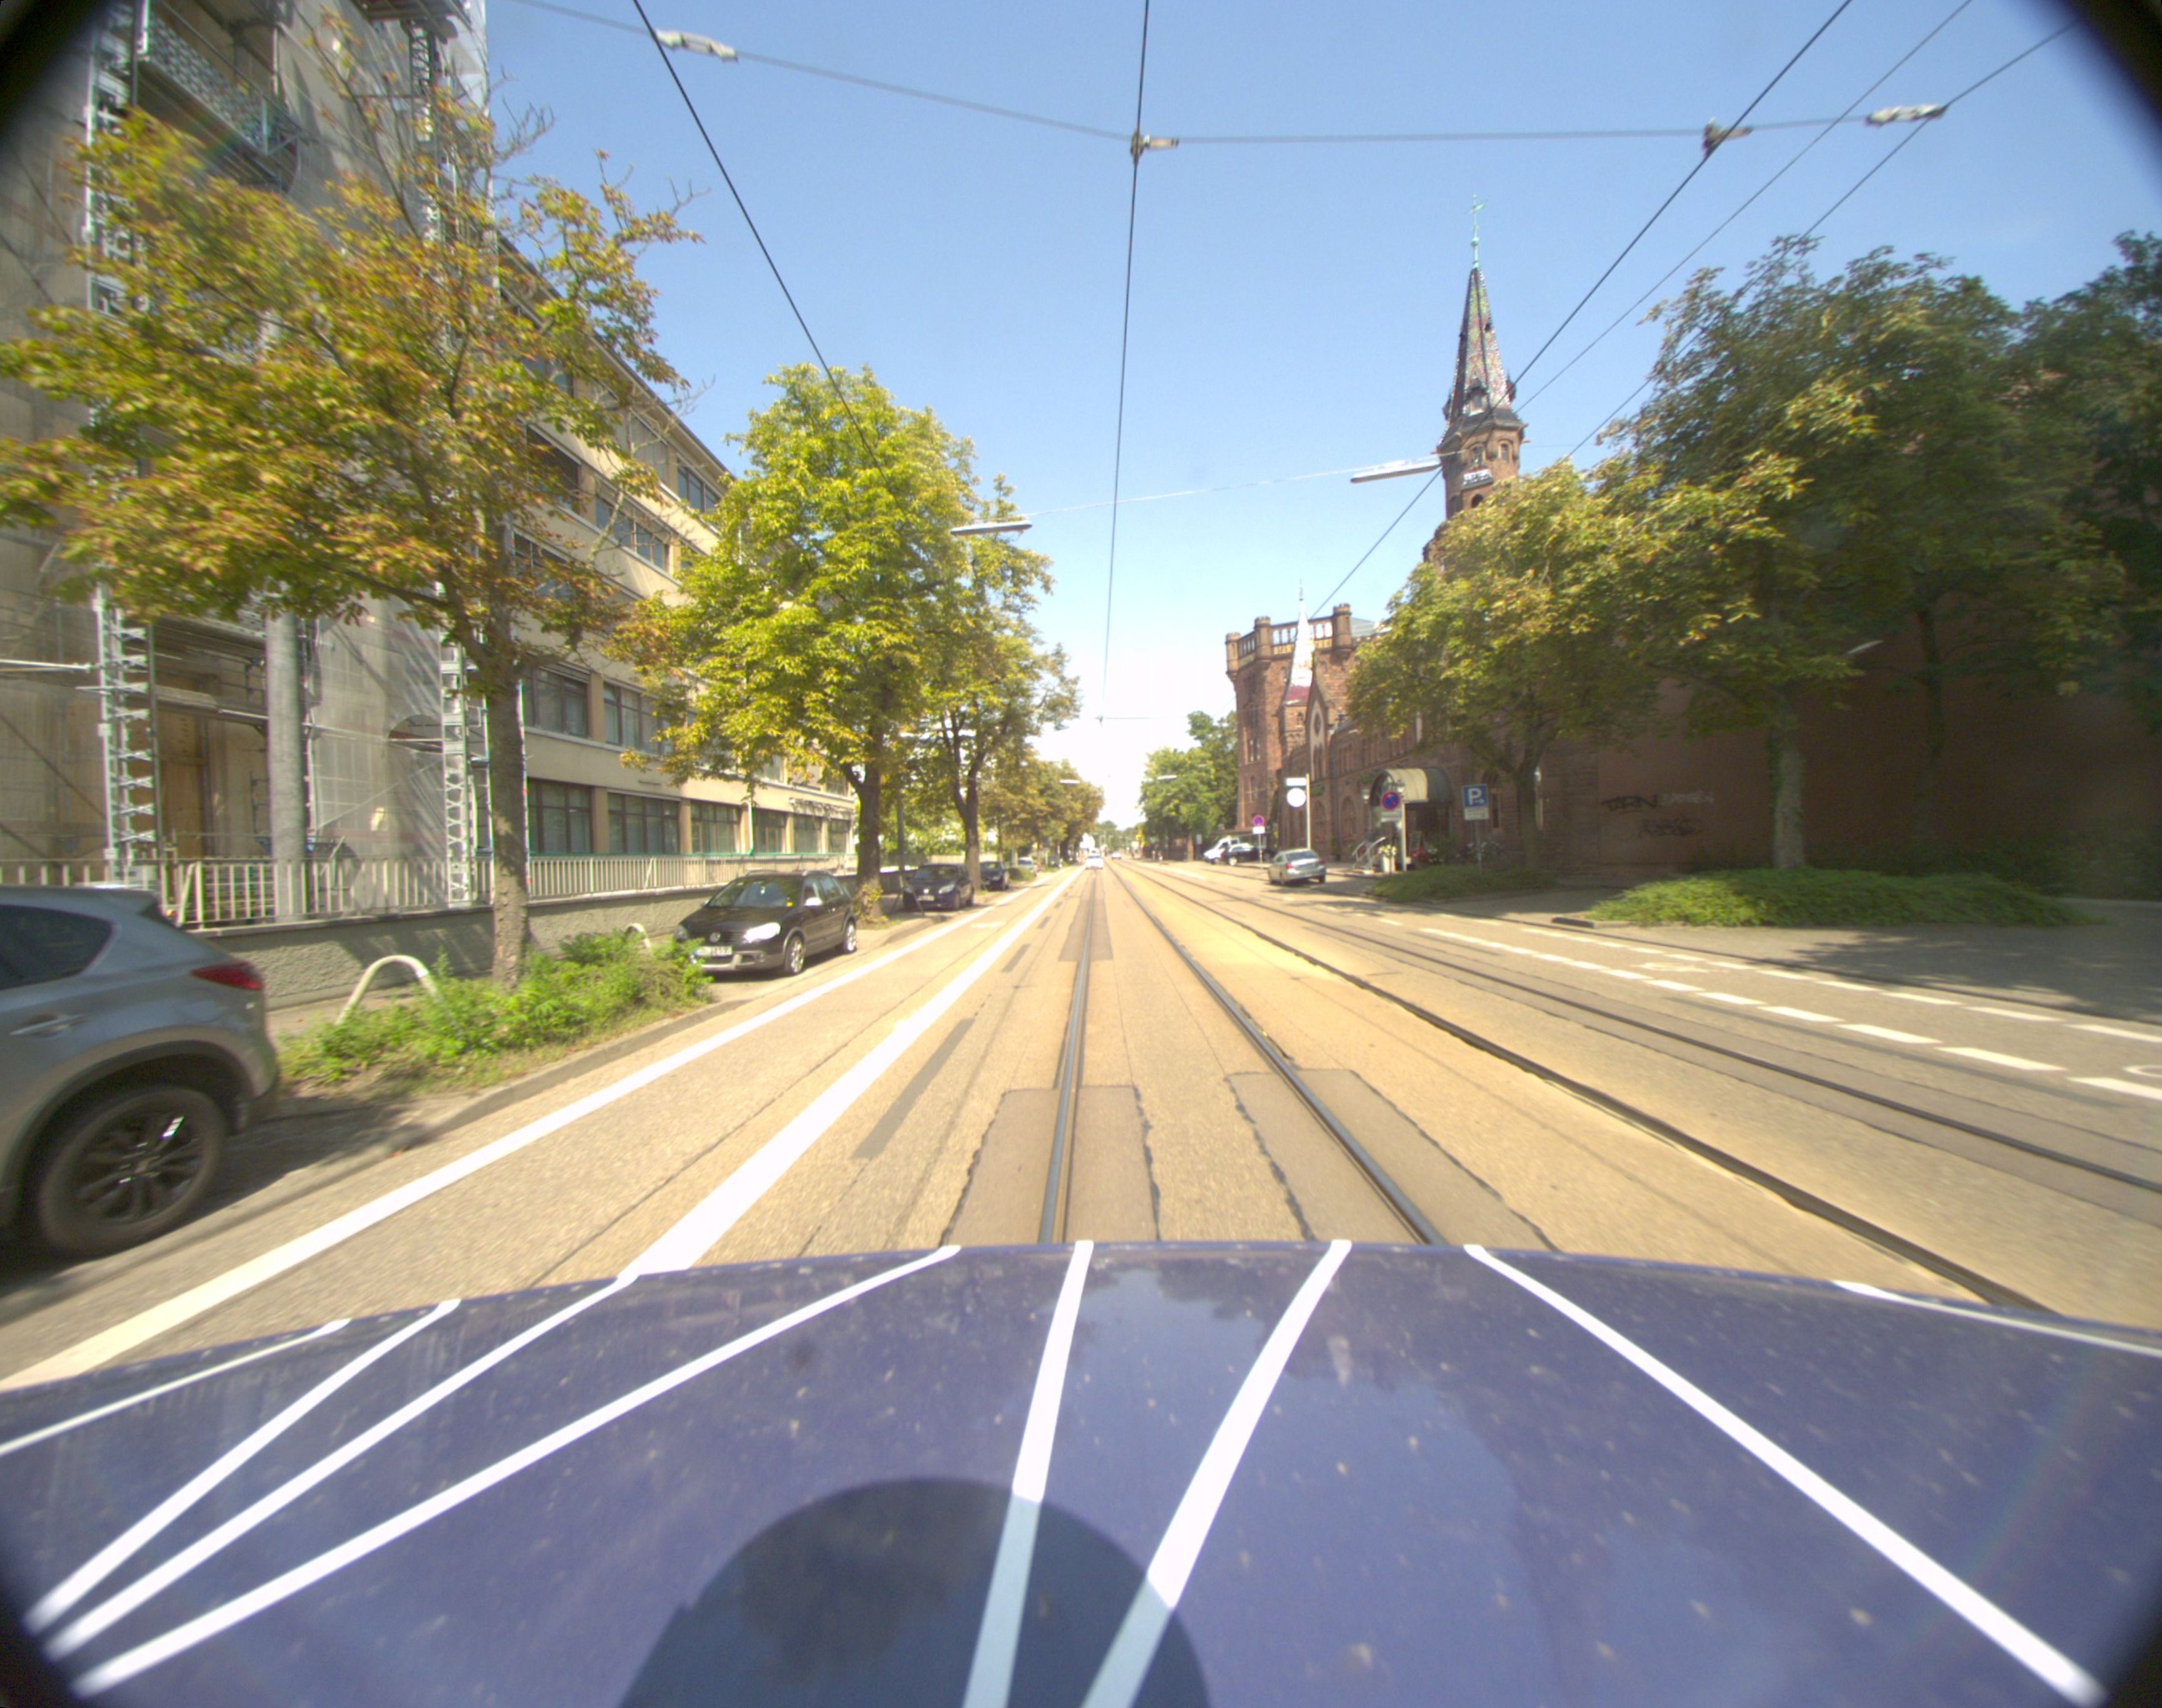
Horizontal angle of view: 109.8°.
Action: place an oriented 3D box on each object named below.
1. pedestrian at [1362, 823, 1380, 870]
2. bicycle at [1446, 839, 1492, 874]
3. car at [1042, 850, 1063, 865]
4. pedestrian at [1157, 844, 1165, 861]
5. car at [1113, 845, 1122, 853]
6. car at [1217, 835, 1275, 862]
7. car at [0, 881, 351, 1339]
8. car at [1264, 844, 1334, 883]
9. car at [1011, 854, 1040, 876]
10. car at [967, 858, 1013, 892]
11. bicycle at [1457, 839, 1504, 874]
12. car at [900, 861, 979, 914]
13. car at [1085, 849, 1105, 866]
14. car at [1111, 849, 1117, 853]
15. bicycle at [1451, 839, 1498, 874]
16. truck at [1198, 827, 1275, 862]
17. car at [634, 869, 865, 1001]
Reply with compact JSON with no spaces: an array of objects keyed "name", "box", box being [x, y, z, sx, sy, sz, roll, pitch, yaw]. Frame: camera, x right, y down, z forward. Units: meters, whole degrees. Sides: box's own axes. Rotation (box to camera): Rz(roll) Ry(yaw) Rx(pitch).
[{"name":"pedestrian","box":[12.585,-0.324,32.948,0.520,1.969,0.504,-4,2,-44]},{"name":"bicycle","box":[13.974,0.087,27.383,1.449,1.056,0.377,-7,2,-8]},{"name":"car","box":[-3.149,0.404,85.531,1.998,1.521,4.000,-2,1,2]},{"name":"pedestrian","box":[9.145,-0.185,86.743,0.736,1.837,0.828,-2,1,2]},{"name":"car","box":[8.143,-1.075,168.949,1.998,1.783,4.000,-2,1,2]},{"name":"car","box":[13.956,-0.495,64.426,4.407,1.787,2.000,-6,0,4]},{"name":"car","box":[-5.026,1.046,1.919,1.766,1.679,4.648,-2,1,1]},{"name":"car","box":[9.226,0.337,32.504,1.939,1.493,4.515,-2,1,4]},{"name":"car","box":[-4.004,0.798,55.329,1.642,1.464,3.878,-2,1,3]},{"name":"car","box":[-4.311,0.968,36.515,1.642,1.465,3.993,0,1,1]},{"name":"bicycle","box":[14.059,0.090,26.756,1.449,1.056,0.377,-7,2,-8]},{"name":"car","box":[-4.524,1.025,24.892,1.645,1.561,4.084,-1,0,3]},{"name":"car","box":[1.383,0.296,73.614,1.824,1.484,4.018,-1,1,1]},{"name":"car","box":[11.291,-1.054,262.059,1.798,1.501,4.000,-2,0,2]},{"name":"bicycle","box":[14.021,0.088,27.054,1.449,1.056,0.377,-7,2,-8]},{"name":"truck","box":[14.350,-0.879,70.496,6.510,2.510,2.317,-6,1,2]},{"name":"car","box":[-4.928,1.107,11.970,1.689,1.561,4.000,-2,1,2]}]
